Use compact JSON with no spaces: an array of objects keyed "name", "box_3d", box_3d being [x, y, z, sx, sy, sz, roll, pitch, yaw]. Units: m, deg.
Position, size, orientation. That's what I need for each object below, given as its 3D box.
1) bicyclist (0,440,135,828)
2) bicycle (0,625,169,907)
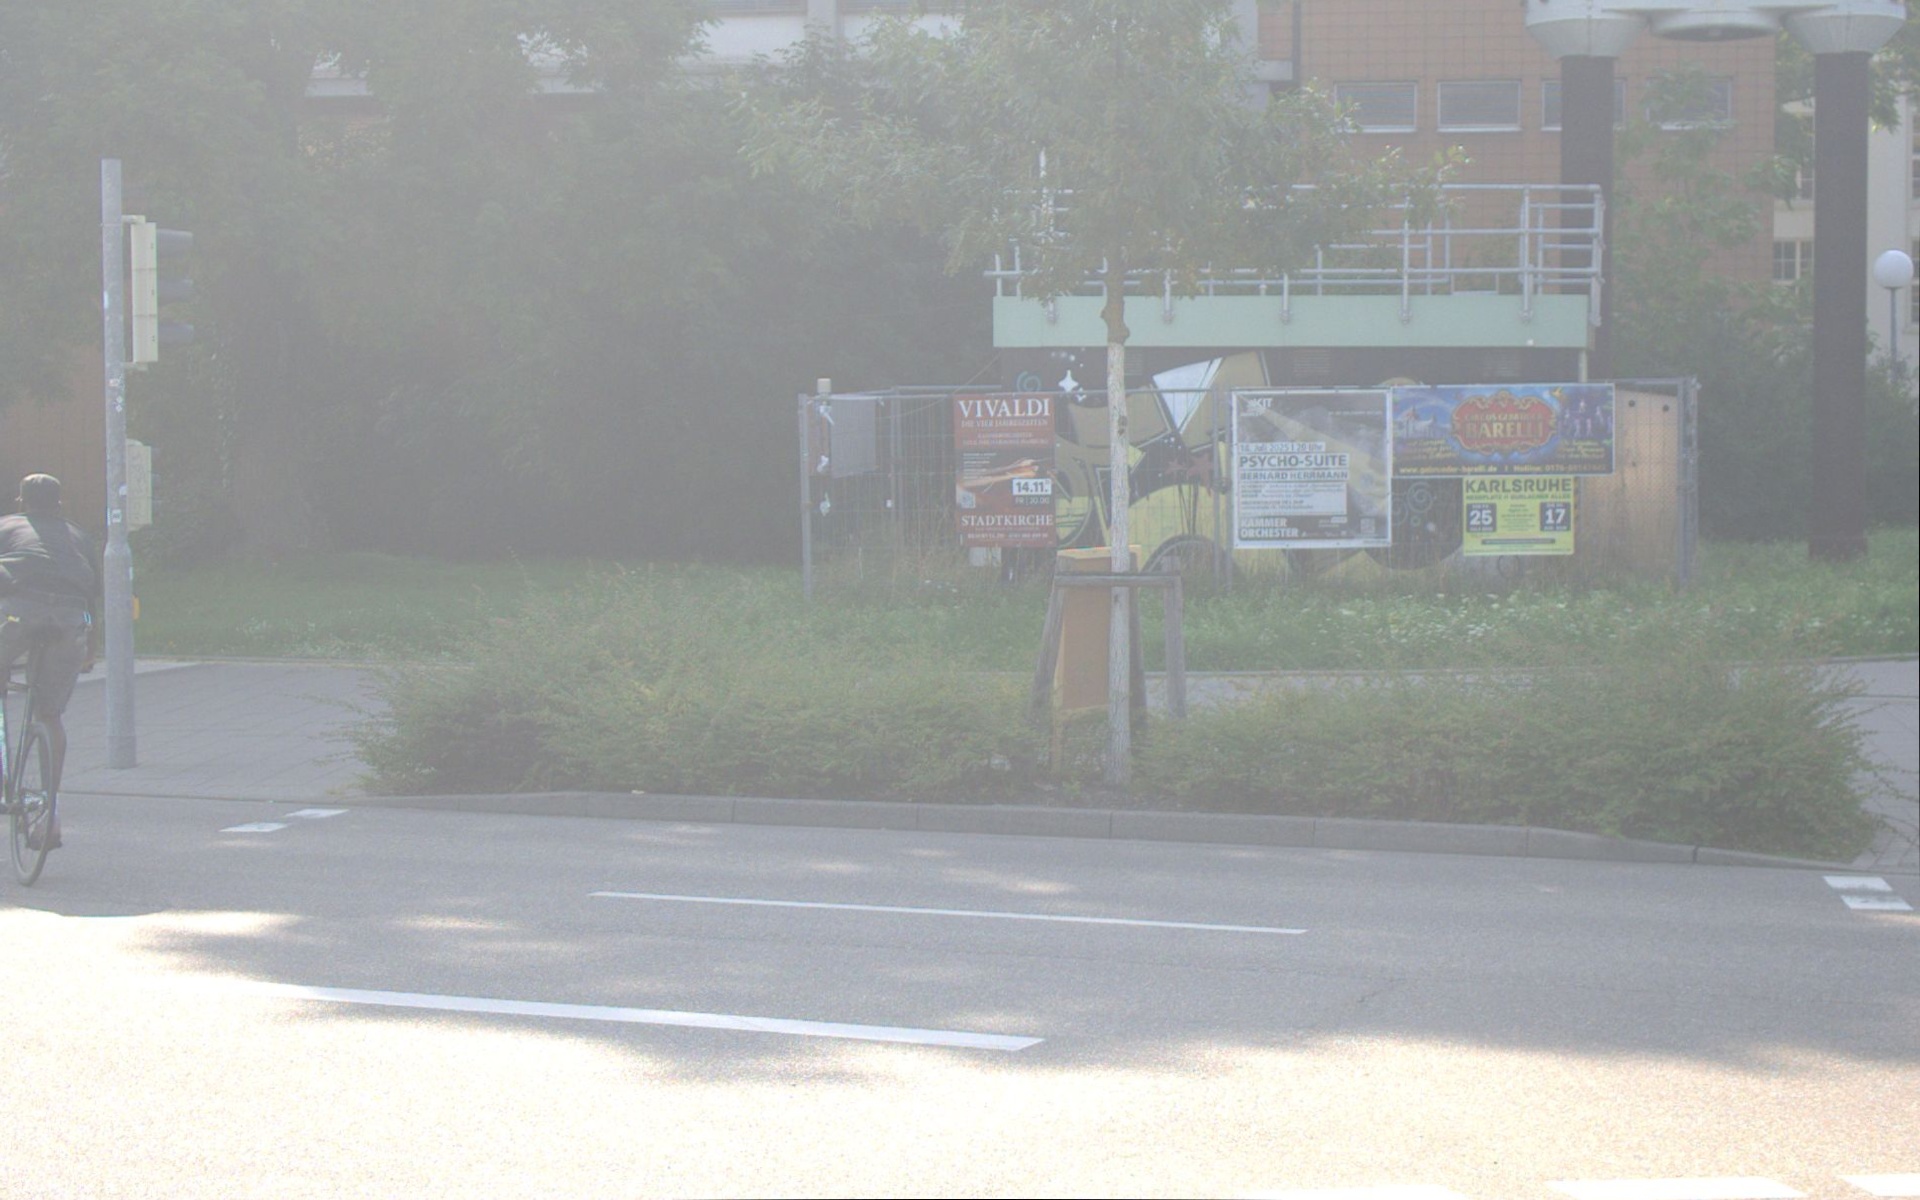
[{"name":"bicyclist","box_3d":[-4.027,0.118,14.597,0.772,1.573,0.991,-3,4,-27]},{"name":"bicycle","box_3d":[-4.040,0.667,14.695,0.772,0.972,2.151,-3,4,-27]}]
